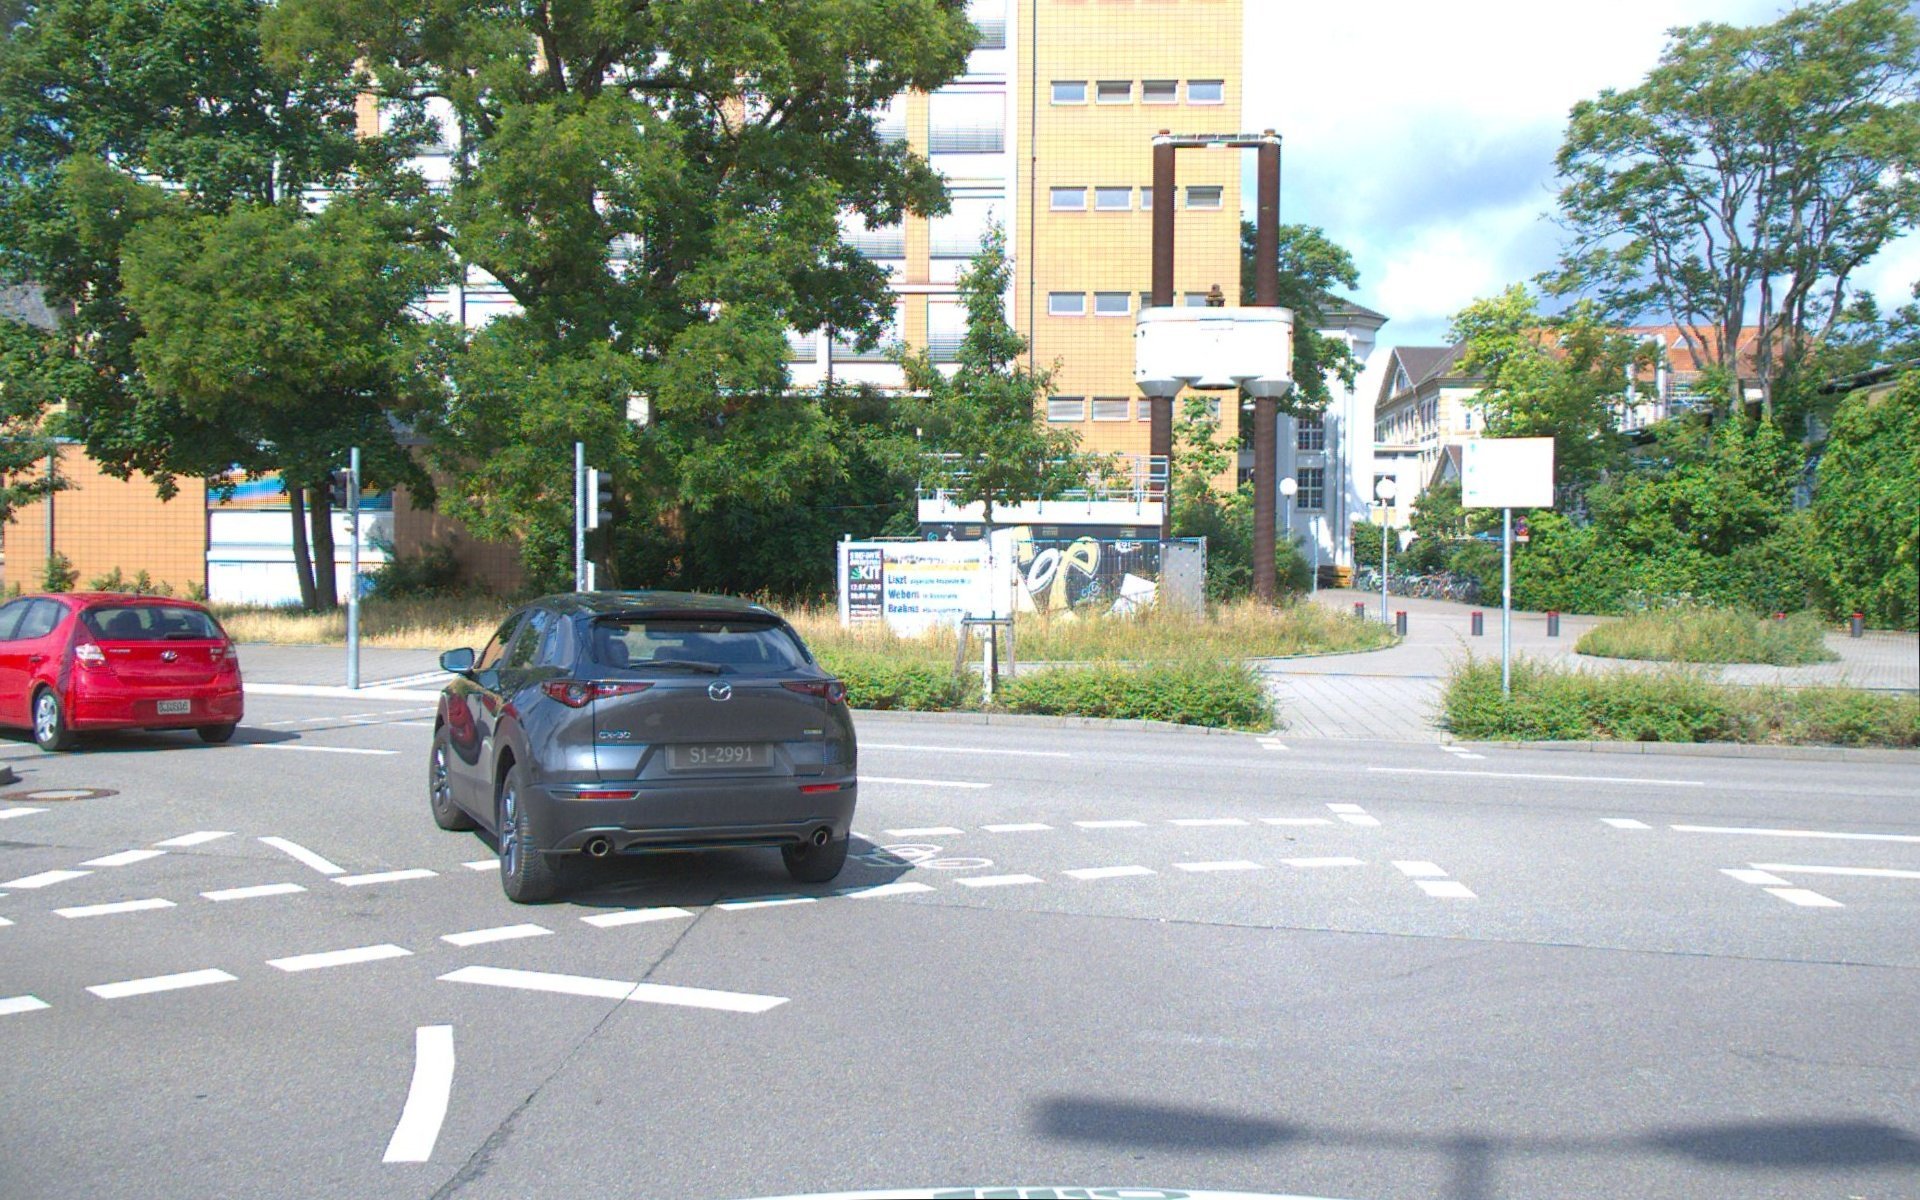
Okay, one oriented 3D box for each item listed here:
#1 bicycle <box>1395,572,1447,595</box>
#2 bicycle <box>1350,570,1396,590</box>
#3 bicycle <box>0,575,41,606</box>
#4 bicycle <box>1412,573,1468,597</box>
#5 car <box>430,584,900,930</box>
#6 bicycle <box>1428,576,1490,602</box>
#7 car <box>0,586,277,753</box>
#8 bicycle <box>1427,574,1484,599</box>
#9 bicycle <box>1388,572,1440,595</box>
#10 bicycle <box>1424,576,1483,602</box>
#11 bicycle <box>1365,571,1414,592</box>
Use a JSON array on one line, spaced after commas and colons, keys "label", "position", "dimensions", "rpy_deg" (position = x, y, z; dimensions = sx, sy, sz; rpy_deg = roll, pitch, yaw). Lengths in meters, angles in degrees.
[{"label": "bicycle", "position": [19.332, -0.689, 69.383], "dimensions": [2.012, 0.952, 0.804], "rpy_deg": [0, 1, 4]}, {"label": "bicycle", "position": [19.734, -0.960, 79.005], "dimensions": [2.012, 0.952, 0.804], "rpy_deg": [0, 1, 4]}, {"label": "bicycle", "position": [-34.121, -0.345, 59.199], "dimensions": [2.024, 1.091, 0.666], "rpy_deg": [0, 1, -4]}, {"label": "bicycle", "position": [19.133, -0.595, 65.933], "dimensions": [2.012, 0.952, 0.804], "rpy_deg": [0, 1, 4]}, {"label": "car", "position": [-1.940, 0.686, 9.644], "dimensions": [1.782, 1.534, 4.173], "rpy_deg": [0, 0, -24]}, {"label": "bicycle", "position": [18.224, -0.406, 60.432], "dimensions": [2.012, 0.952, 0.804], "rpy_deg": [0, 1, 4]}, {"label": "car", "position": [-8.833, 0.610, 16.801], "dimensions": [3.990, 1.464, 1.813], "rpy_deg": [1, 0, 39]}, {"label": "bicycle", "position": [19.346, -0.545, 64.571], "dimensions": [2.012, 0.952, 0.804], "rpy_deg": [0, 1, 4]}, {"label": "bicycle", "position": [19.320, -0.721, 70.408], "dimensions": [2.012, 0.952, 0.804], "rpy_deg": [0, 1, 4]}, {"label": "bicycle", "position": [18.485, -0.407, 61.992], "dimensions": [2.012, 0.952, 0.804], "rpy_deg": [0, 1, 4]}, {"label": "bicycle", "position": [19.240, -0.835, 74.168], "dimensions": [2.012, 0.952, 0.804], "rpy_deg": [0, 1, 4]}]
